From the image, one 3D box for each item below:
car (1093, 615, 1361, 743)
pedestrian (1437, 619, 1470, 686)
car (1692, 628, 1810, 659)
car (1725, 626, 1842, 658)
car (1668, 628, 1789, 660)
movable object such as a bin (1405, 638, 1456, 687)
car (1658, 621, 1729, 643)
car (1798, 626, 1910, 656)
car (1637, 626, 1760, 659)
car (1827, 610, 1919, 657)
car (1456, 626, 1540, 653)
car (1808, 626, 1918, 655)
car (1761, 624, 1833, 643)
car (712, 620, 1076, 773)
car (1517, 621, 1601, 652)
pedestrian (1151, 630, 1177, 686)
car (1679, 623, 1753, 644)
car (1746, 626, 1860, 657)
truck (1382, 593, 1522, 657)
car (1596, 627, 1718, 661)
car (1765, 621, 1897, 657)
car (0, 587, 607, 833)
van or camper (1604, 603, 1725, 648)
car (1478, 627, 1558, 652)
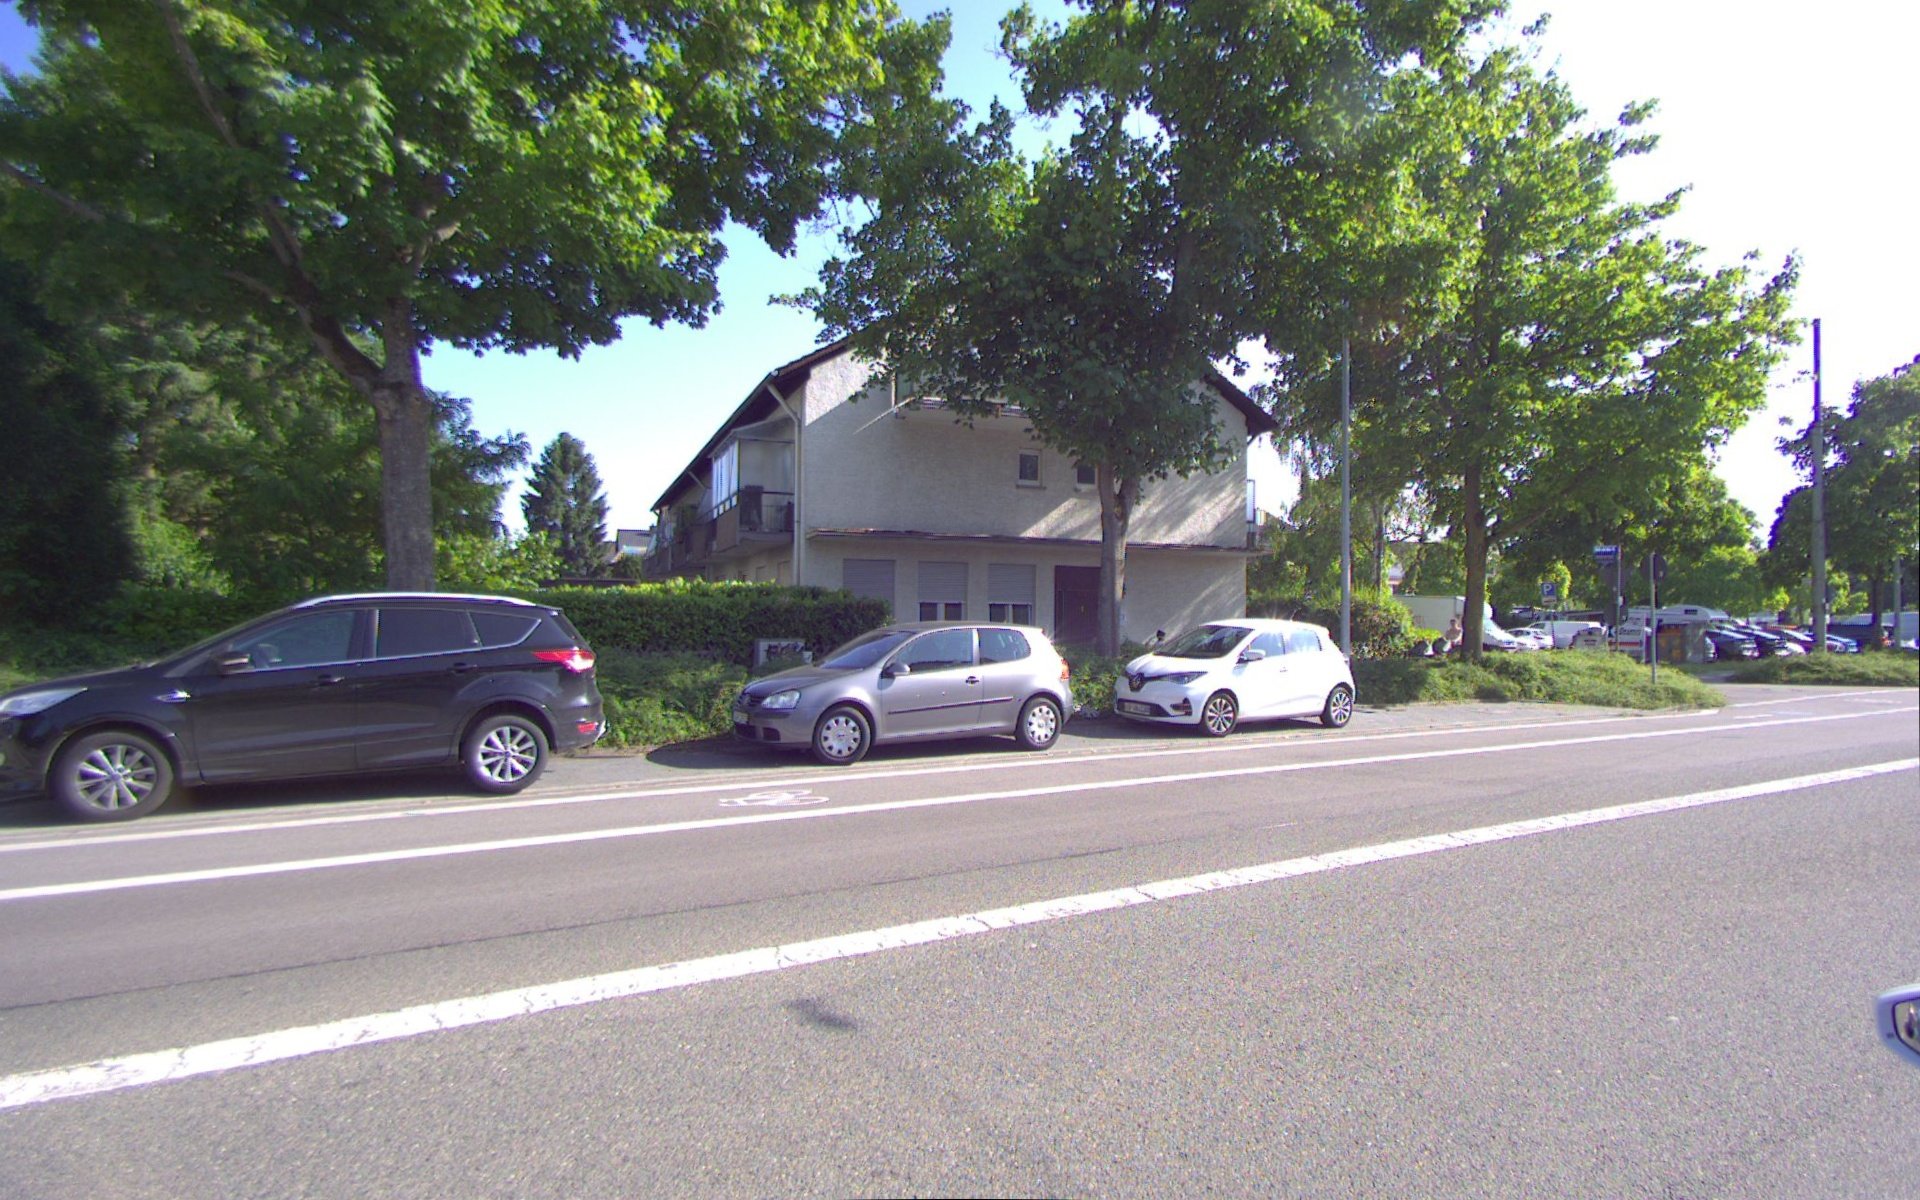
[{"bbox_3d":[3.924,1.047,14.568,3.854,1.571,1.591,1,1,-34],"label":"car"},{"bbox_3d":[12.336,1.297,25.110,0.603,1.649,0.522,1,-1,-30],"label":"pedestrian"},{"bbox_3d":[36.708,1.990,46.702,1.719,1.324,3.964,1,-1,-33],"label":"car"},{"bbox_3d":[38.816,1.935,47.417,1.719,1.416,3.964,1,-1,-33],"label":"car"},{"bbox_3d":[34.175,1.933,44.777,1.719,1.324,3.964,1,-1,-33],"label":"car"},{"bbox_3d":[11.541,1.518,24.635,1.246,1.161,0.539,1,-1,-30],"label":"movable object such as a bin"},{"bbox_3d":[50.592,2.197,69.353,1.719,1.416,3.642,1,-1,-33],"label":"car"},{"bbox_3d":[45.563,2.075,51.257,1.719,1.416,3.964,1,-1,-33],"label":"car"},{"bbox_3d":[31.868,1.806,43.464,1.719,1.324,3.964,1,-1,-33],"label":"car"},{"bbox_3d":[50.328,1.767,53.926,2.062,2.455,5.351,1,-1,-29],"label":"car"},{"bbox_3d":[30.808,2.221,57.622,1.719,1.477,3.964,1,-1,-33],"label":"car"},{"bbox_3d":[47.154,2.106,52.519,1.719,1.416,3.964,1,-1,-33],"label":"car"},{"bbox_3d":[65.034,2.591,78.112,1.719,1.416,3.964,1,-1,-33],"label":"car"},{"bbox_3d":[-0.702,0.997,11.668,3.925,1.488,1.667,1,-1,-33],"label":"car"},{"bbox_3d":[35.496,2.127,59.604,1.611,1.751,3.959,1,-1,-36],"label":"car"},{"bbox_3d":[4.327,1.227,21.313,0.440,1.177,0.345,1,-1,-22],"label":"pedestrian"},{"bbox_3d":[54.625,2.389,72.608,1.719,1.416,3.964,1,-1,-33],"label":"car"},{"bbox_3d":[41.202,1.987,49.157,1.719,1.416,3.964,1,-1,-33],"label":"car"},{"bbox_3d":[26.711,1.340,54.833,1.965,3.285,6.926,1,-1,-31],"label":"truck"},{"bbox_3d":[29.562,1.839,42.707,1.719,1.324,3.964,1,-1,-33],"label":"car"},{"bbox_3d":[43.371,1.901,50.117,2.026,1.673,4.594,1,-1,-31],"label":"car"},{"bbox_3d":[-5.495,0.803,8.697,4.370,1.716,1.704,1,-1,-30],"label":"car"},{"bbox_3d":[47.674,1.672,68.172,2.279,2.906,6.436,1,-1,-29],"label":"van or camper"},{"bbox_3d":[32.962,2.321,59.448,1.604,1.379,3.976,1,-1,-24],"label":"car"}]
